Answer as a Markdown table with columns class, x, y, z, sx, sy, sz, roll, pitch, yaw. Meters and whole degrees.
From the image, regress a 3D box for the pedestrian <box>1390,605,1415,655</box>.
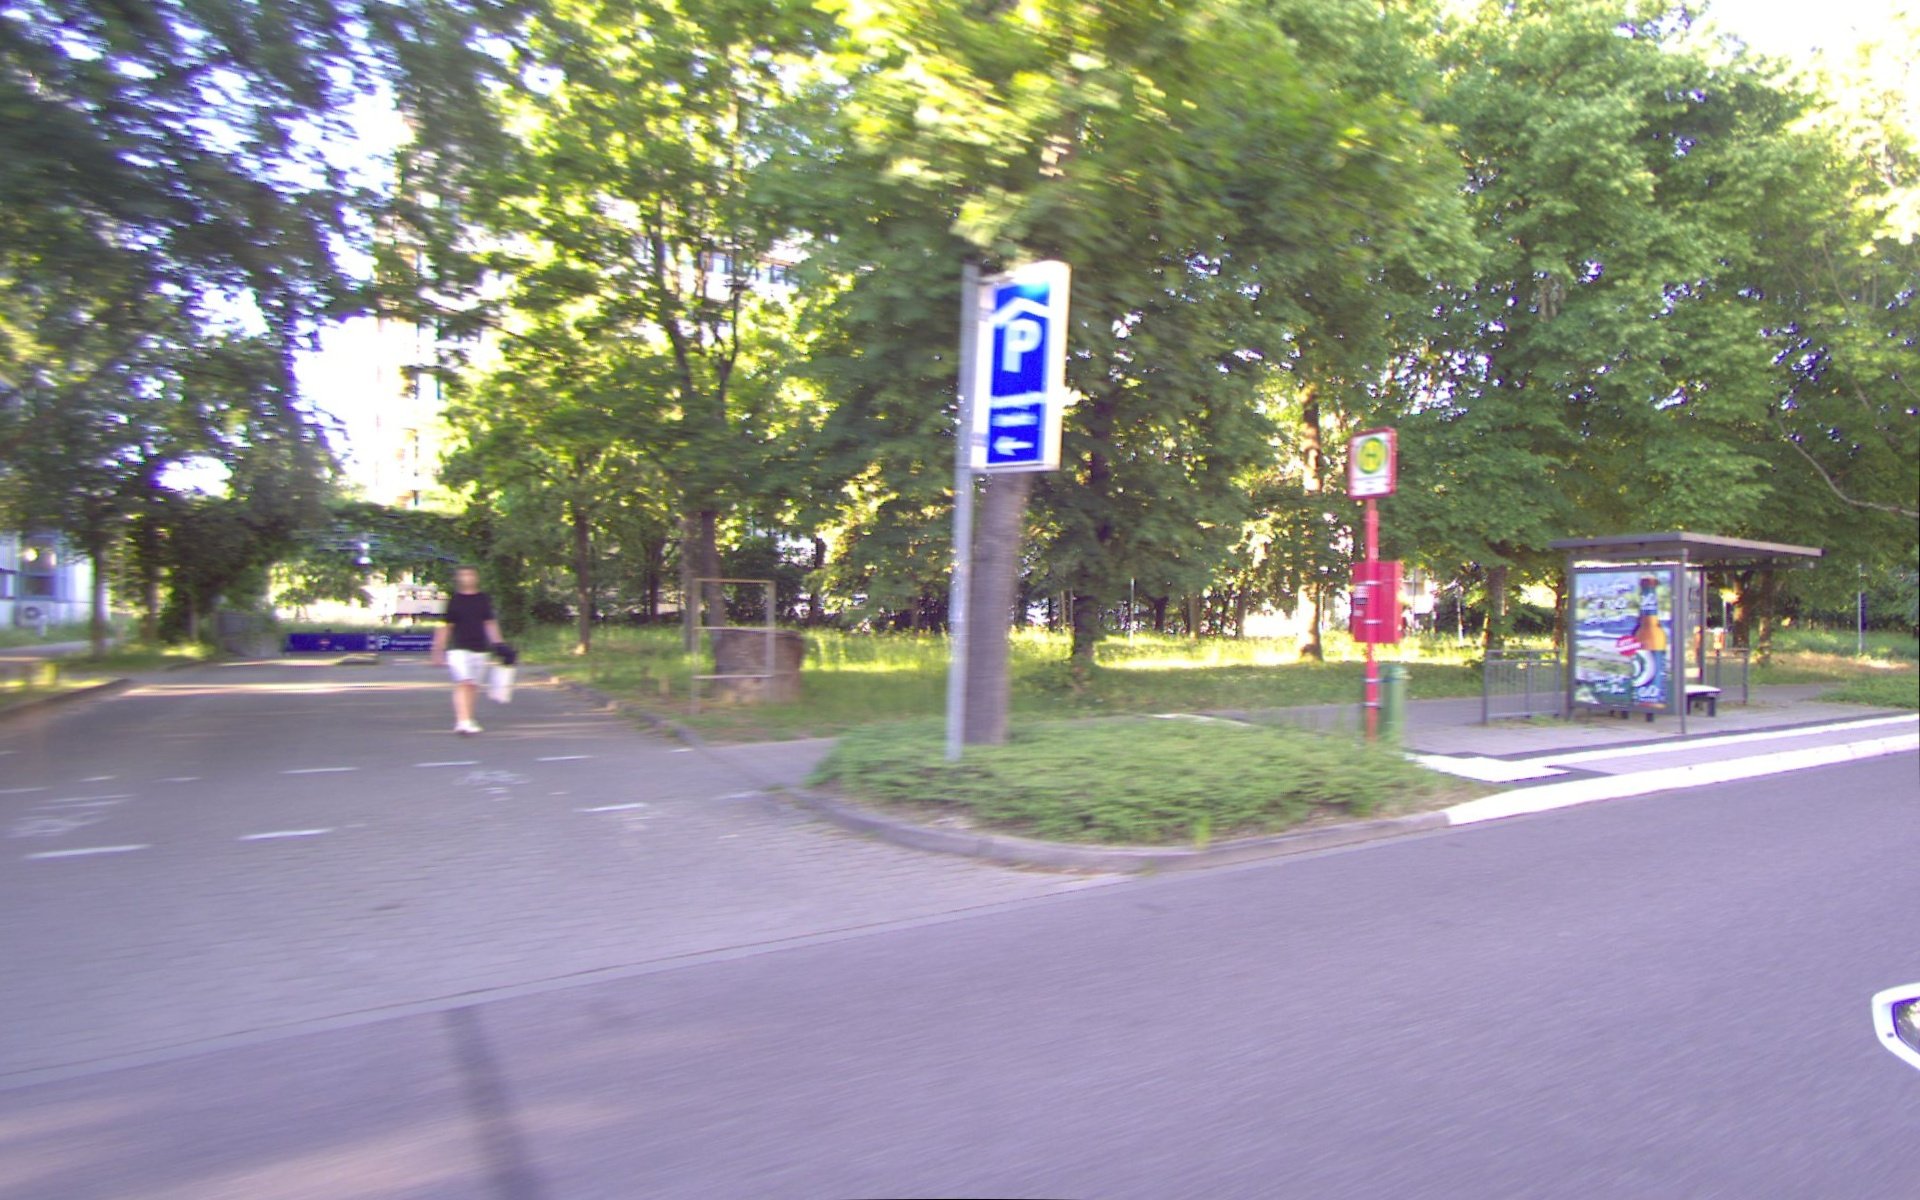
| class | x | y | z | sx | sy | sz | roll | pitch | yaw |
| --- | --- | --- | --- | --- | --- | --- | --- | --- | --- |
| pedestrian | 18.546 | 1.242 | 42.081 | 0.584 | 2.040 | 0.751 | 2 | 0 | -36 |

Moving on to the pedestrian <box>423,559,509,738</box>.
| class | x | y | z | sx | sy | sz | roll | pitch | yaw |
| --- | --- | --- | --- | --- | --- | --- | --- | --- | --- |
| pedestrian | -5.379 | 0.506 | 10.927 | 0.713 | 1.845 | 0.897 | 1 | 0 | -33 |
